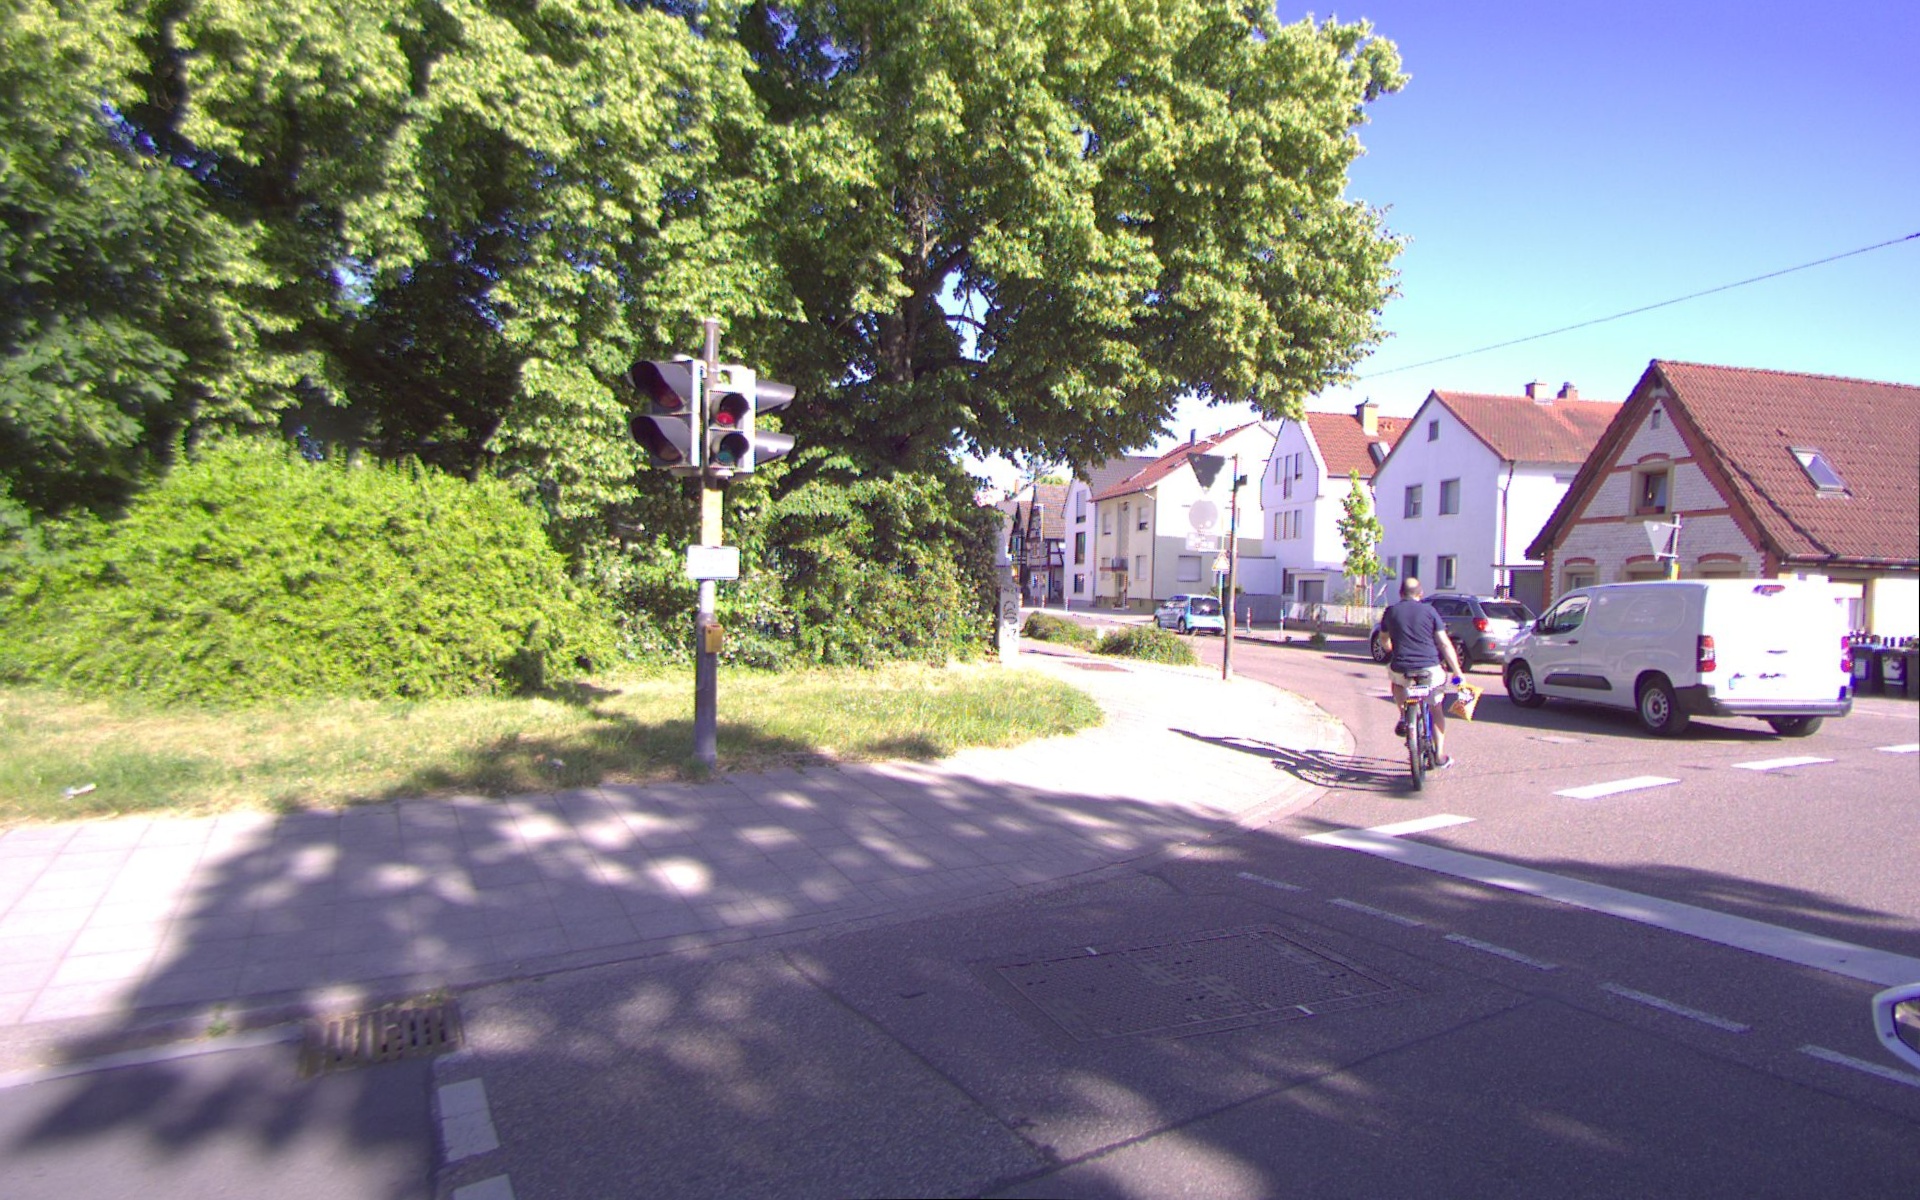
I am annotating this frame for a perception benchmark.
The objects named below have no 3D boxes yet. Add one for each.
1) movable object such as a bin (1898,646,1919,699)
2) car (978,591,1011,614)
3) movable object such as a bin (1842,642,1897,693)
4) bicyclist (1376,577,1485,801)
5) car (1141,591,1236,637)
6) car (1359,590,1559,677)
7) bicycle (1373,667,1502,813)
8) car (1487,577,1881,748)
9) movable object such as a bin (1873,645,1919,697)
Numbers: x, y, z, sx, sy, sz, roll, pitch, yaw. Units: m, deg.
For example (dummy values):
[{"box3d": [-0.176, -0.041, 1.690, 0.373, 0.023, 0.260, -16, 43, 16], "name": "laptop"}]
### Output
[{"box3d": [17.675, 1.332, 18.417, 0.614, 0.937, 0.411, 1, 1, -12], "name": "movable object such as a bin"}, {"box3d": [2.745, 0.152, 80.922, 1.963, 1.731, 4.176, 1, 1, -7], "name": "car"}, {"box3d": [17.499, 1.302, 19.333, 0.614, 0.937, 0.508, 1, 1, -12], "name": "movable object such as a bin"}, {"box3d": [4.032, 0.721, 8.665, 0.752, 1.813, 0.853, 1, 1, 21], "name": "bicyclist"}, {"box3d": [8.725, 0.493, 38.664, 1.912, 1.570, 4.223, 1, 1, -13], "name": "car"}, {"box3d": [11.500, 0.697, 23.528, 1.912, 1.748, 4.224, 2, 1, -12], "name": "car"}, {"box3d": [4.082, 1.147, 8.749, 0.762, 0.952, 2.290, -3, -1, 20], "name": "bicycle"}, {"box3d": [9.147, 0.669, 13.311, 1.925, 1.873, 4.559, 0, 1, 0], "name": "car"}, {"box3d": [17.598, 1.323, 18.846, 0.614, 0.918, 0.412, 0, 1, -12], "name": "movable object such as a bin"}]
